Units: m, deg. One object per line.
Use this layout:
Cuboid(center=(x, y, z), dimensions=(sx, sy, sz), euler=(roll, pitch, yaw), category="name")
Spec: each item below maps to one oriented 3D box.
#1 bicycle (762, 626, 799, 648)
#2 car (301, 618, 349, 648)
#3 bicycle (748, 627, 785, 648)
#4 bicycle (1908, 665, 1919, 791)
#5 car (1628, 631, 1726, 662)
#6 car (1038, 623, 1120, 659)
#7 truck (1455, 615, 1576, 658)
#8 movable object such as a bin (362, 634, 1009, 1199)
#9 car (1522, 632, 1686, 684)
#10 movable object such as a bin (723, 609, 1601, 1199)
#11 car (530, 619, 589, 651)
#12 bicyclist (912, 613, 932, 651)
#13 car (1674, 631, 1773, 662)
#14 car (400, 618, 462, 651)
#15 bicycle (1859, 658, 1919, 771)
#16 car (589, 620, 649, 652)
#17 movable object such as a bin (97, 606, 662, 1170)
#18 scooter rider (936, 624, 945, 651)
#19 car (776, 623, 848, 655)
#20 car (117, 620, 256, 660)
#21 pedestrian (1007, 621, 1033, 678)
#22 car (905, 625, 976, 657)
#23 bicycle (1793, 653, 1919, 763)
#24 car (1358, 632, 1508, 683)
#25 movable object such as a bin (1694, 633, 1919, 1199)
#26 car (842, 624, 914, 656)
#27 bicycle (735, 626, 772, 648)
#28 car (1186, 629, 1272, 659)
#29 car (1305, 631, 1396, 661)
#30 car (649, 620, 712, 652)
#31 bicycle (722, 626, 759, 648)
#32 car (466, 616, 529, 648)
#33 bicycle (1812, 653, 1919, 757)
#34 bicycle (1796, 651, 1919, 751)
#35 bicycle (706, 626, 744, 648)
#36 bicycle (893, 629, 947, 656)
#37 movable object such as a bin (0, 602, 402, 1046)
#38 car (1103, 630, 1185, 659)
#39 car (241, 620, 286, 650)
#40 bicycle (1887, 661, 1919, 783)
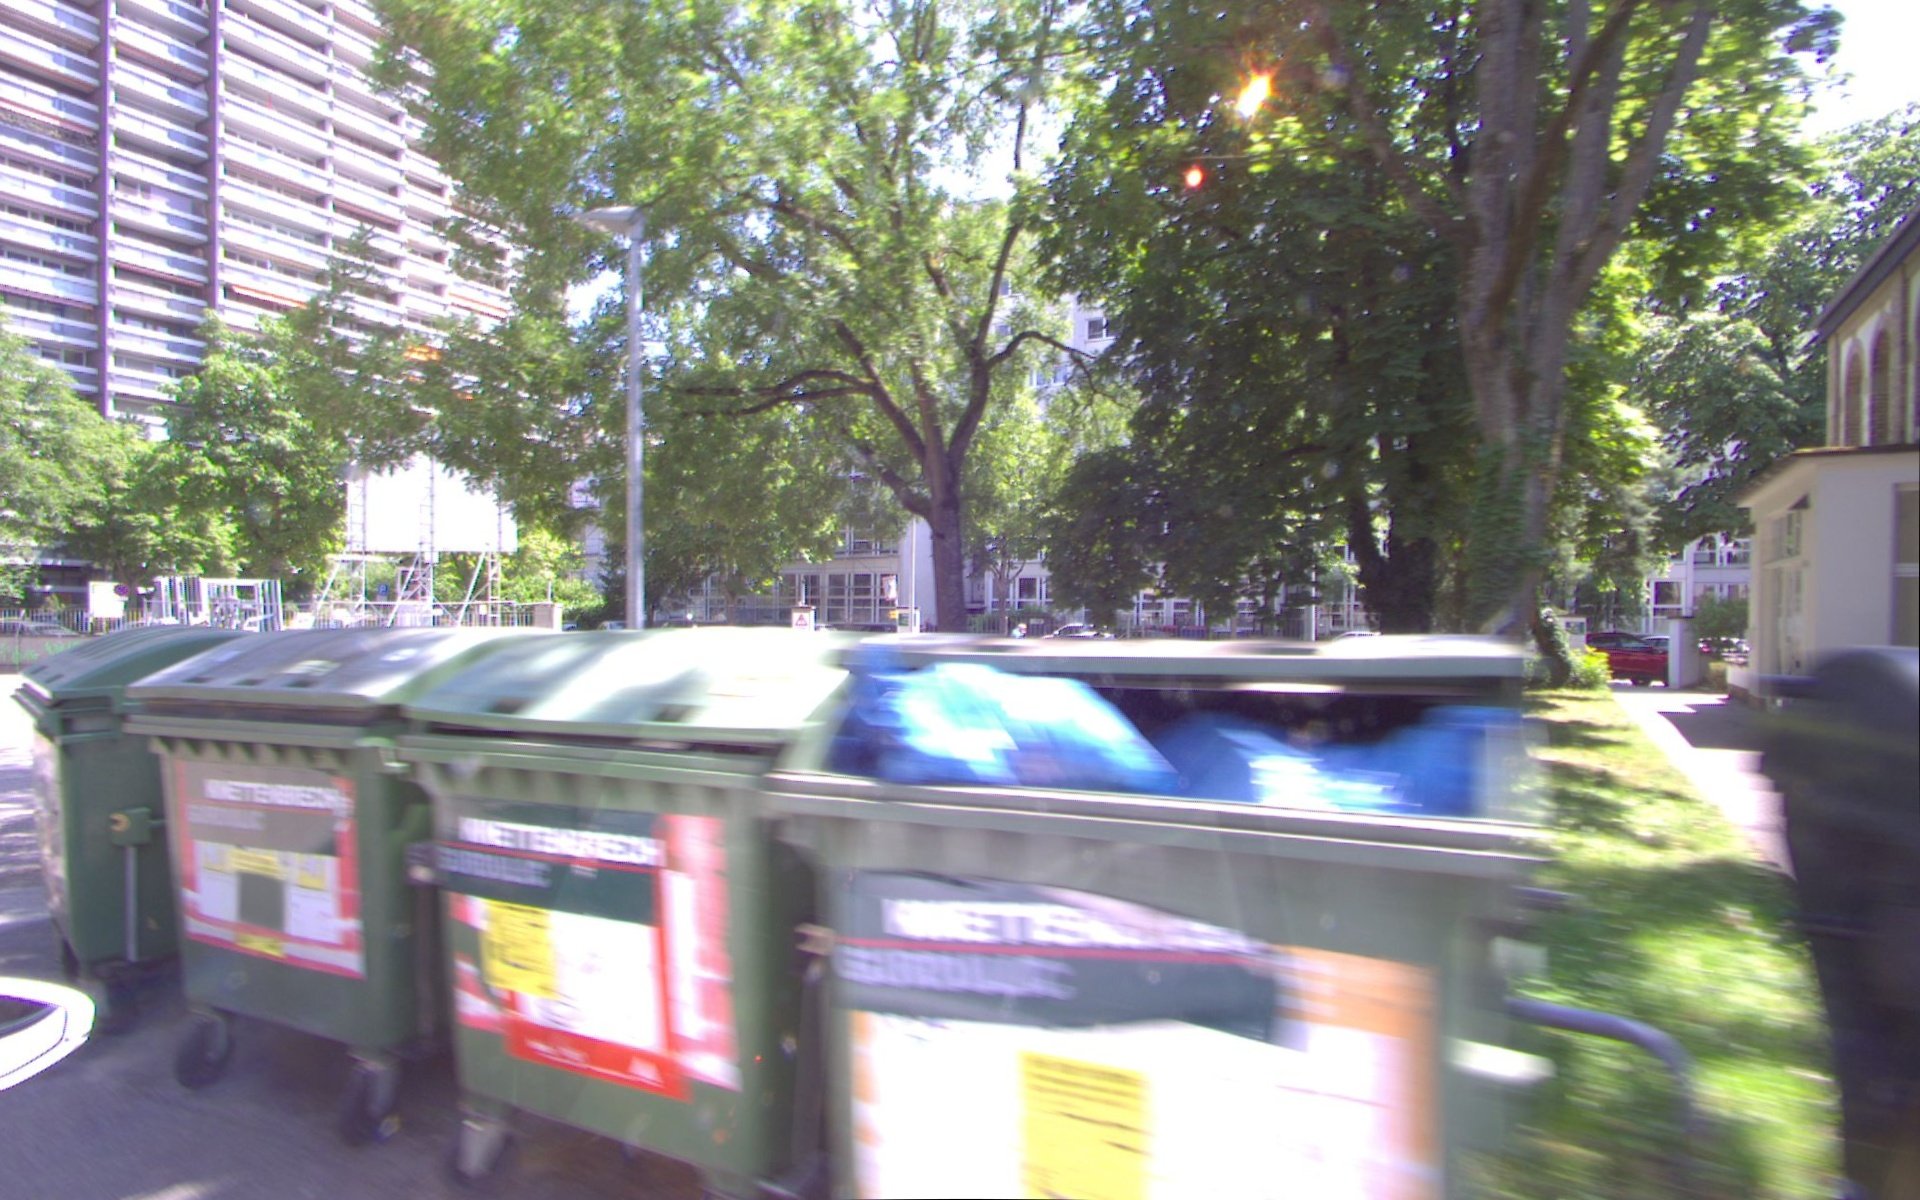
Cuboid(center=(-9.958, 2.059, 55.663), dimensions=(0.770, 1.203, 2.424), euler=(0, -1, 26), category="bicycle")
Cuboid(center=(-31.327, 1.607, 49.338), dimensions=(1.620, 1.405, 3.649), euler=(1, -1, -38), category="car")
Cuboid(center=(-10.832, 2.084, 56.043), dimensions=(0.770, 1.172, 2.376), euler=(0, -1, 26), category="bicycle")
Cuboid(center=(9.762, 1.196, 8.925), dimensions=(1.815, 1.157, 0.586), euler=(0, -1, 33), category="bicycle")
Cuboid(center=(32.088, 2.042, 44.879), dimensions=(1.478, 1.307, 3.320), euler=(1, -1, -34), category="car")
Cuboid(center=(5.609, 1.925, 47.543), dimensions=(1.597, 1.641, 3.708), euler=(1, -1, -44), category="car")
Cuboid(center=(25.369, 1.652, 45.842), dimensions=(1.640, 1.856, 4.600), euler=(1, -2, -44), category="truck")
Cuboid(center=(-0.692, 0.842, 2.793), dimensions=(1.291, 1.488, 1.178), euler=(-1, -1, 27), category="movable object such as a bin")
Cuboid(center=(19.677, 1.746, 30.721), dimensions=(3.860, 1.483, 1.706), euler=(0, -1, 3), category="car")
Cuboid(center=(0.418, 0.782, 1.992), dimensions=(1.290, 1.488, 1.179), euler=(-1, -1, 25), category="movable object such as a bin")
Cuboid(center=(-19.498, 1.692, 48.665), dimensions=(1.620, 1.482, 3.647), euler=(1, -1, -40), category="car")
Cuboid(center=(-1.674, 1.414, 44.537), dimensions=(0.883, 1.687, 0.859), euler=(0, -1, -1), category="bicyclist")
Cuboid(center=(34.813, 2.092, 45.738), dimensions=(1.476, 1.307, 3.324), euler=(1, -1, -29), category="car")
Cuboid(center=(-24.679, 1.585, 46.654), dimensions=(1.623, 1.482, 3.642), euler=(1, -1, -44), category="car")
Cuboid(center=(10.614, 1.212, 10.393), dimensions=(1.815, 1.157, 0.586), euler=(0, -1, 33), category="bicycle")
Cuboid(center=(-16.682, 1.730, 48.884), dimensions=(1.620, 1.482, 3.647), euler=(1, -1, -40), category="car")
Cuboid(center=(-1.941, 0.788, 3.473), dimensions=(1.290, 1.488, 1.179), euler=(-1, -1, 26), category="movable object such as a bin")
Cuboid(center=(-0.841, 1.632, 43.829), dimensions=(0.409, 1.149, 0.359), euler=(0, 0, -1), category="scooter rider")
Cuboid(center=(-7.195, 1.861, 48.582), dimensions=(1.629, 1.482, 3.641), euler=(1, -1, -45), category="car")
Cuboid(center=(-29.716, 1.512, 38.517), dimensions=(4.063, 1.483, 1.765), euler=(0, -1, 3), category="car")
Cuboid(center=(1.718, 1.408, 28.604), dimensions=(0.718, 1.609, 0.741), euler=(0, -3, 4), category="pedestrian")
Cuboid(center=(-0.973, 1.937, 48.225), dimensions=(1.594, 1.455, 3.575), euler=(1, -1, -38), category="car")
Cuboid(center=(10.580, 1.206, 11.264), dimensions=(1.818, 1.157, 0.586), euler=(0, -1, 37), category="bicycle")
Cuboid(center=(14.670, 1.774, 31.201), dimensions=(3.860, 1.483, 1.706), euler=(0, -1, 3), category="car")
Cuboid(center=(1.951, 0.802, 1.225), dimensions=(1.438, 1.524, 1.156), euler=(-1, -1, 22), category="movable object such as a bin")
Cuboid(center=(-3.971, 1.914, 48.187), dimensions=(1.595, 1.464, 3.645), euler=(1, -1, -42), category="car")
Cuboid(center=(-11.624, 2.077, 56.453), dimensions=(0.770, 1.172, 2.376), euler=(0, -1, 26), category="bicycle")
Cuboid(center=(12.484, 2.025, 46.616), dimensions=(1.593, 1.322, 3.716), euler=(1, -1, -38), category="car")
Cuboid(center=(18.352, 2.138, 47.175), dimensions=(3.705, 1.307, 1.598), euler=(-1, -1, 44), category="car")
Cuboid(center=(-13.602, 1.707, 48.664), dimensions=(1.620, 1.482, 3.647), euler=(1, -1, -40), category="car")
Cuboid(center=(-12.469, 2.091, 56.958), dimensions=(0.770, 1.172, 2.376), euler=(0, -1, 26), category="bicycle")
Cuboid(center=(-22.242, 1.516, 48.108), dimensions=(1.623, 1.482, 3.642), euler=(1, -1, -44), category="car")
Cuboid(center=(11.197, 1.229, 11.694), dimensions=(1.815, 1.157, 0.586), euler=(0, -1, 33), category="bicycle")
Cuboid(center=(11.547, 1.236, 12.354), dimensions=(1.815, 1.157, 0.586), euler=(0, -1, 33), category="bicycle")
Cuboid(center=(-13.459, 2.105, 57.349), dimensions=(0.770, 1.172, 2.376), euler=(0, -1, 26), category="bicycle")
Cuboid(center=(-1.778, 1.882, 44.540), dimensions=(2.392, 1.167, 0.786), euler=(0, 0, -1), category="bicycle")
Cuboid(center=(-3.242, 0.781, 4.252), dimensions=(1.318, 1.488, 1.173), euler=(-1, -2, 43), category="movable object such as a bin")
Cuboid(center=(8.672, 2.068, 47.376), dimensions=(1.594, 1.297, 3.715), euler=(1, -1, -38), category="car")
Cuboid(center=(-34.637, 1.723, 49.776), dimensions=(1.620, 1.405, 3.649), euler=(1, -1, -38), category="car")
Cuboid(center=(10.080, 1.194, 9.488), dimensions=(1.815, 1.157, 0.586), euler=(0, -1, 33), category="bicycle")
